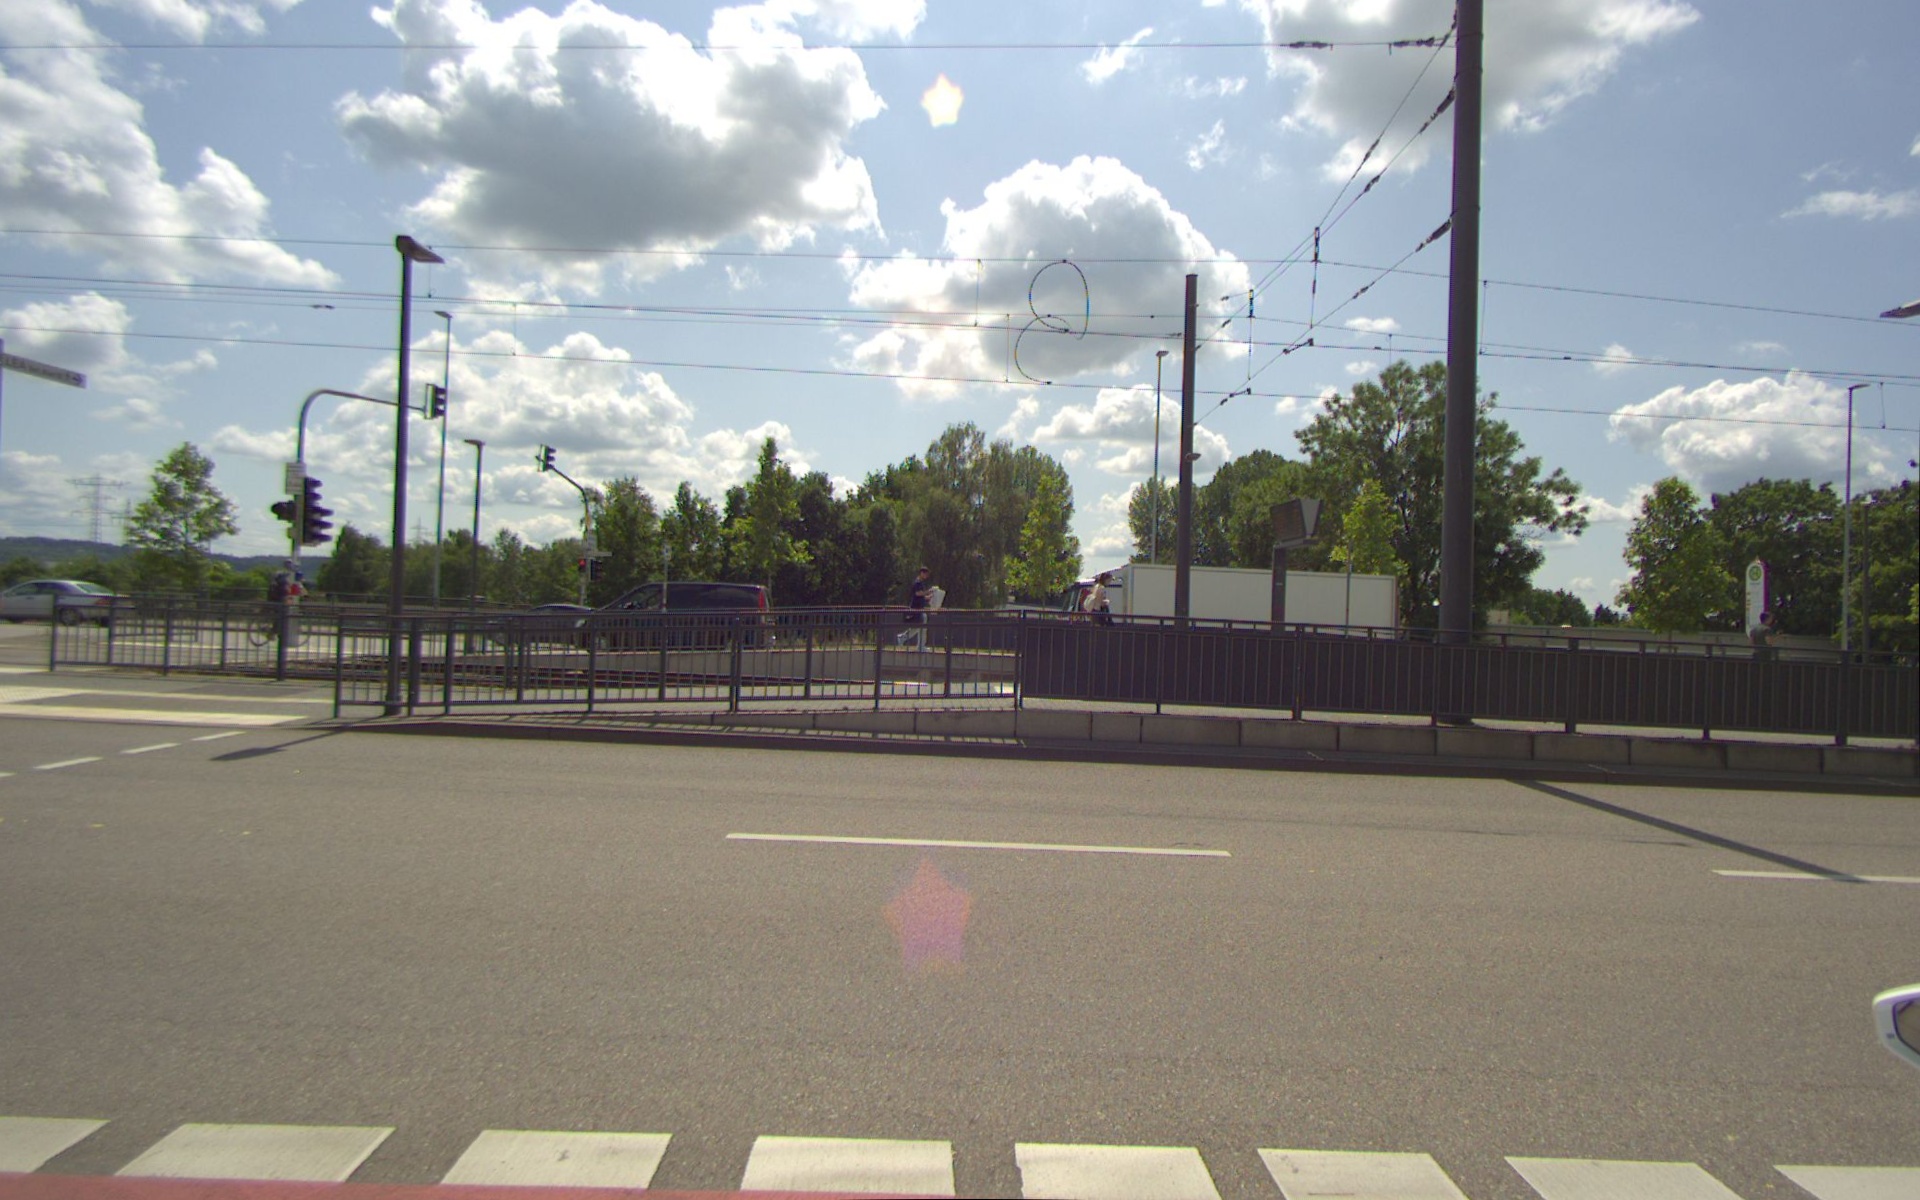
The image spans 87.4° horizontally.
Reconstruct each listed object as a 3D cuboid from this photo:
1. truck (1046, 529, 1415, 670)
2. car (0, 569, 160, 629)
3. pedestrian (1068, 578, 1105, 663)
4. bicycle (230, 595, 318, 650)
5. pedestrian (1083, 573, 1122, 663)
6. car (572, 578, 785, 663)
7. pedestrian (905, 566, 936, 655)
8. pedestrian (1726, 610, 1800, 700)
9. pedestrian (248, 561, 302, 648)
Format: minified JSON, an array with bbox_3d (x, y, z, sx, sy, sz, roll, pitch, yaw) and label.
[{"bbox_3d":[9.031,0.011,34.413,11.764,4.159,2.951,2,0,-2],"label":"truck"},{"bbox_3d":[-28.883,-0.029,32.304,4.579,1.797,1.883,2,-1,-6],"label":"car"},{"bbox_3d":[2.645,0.436,21.101,0.694,1.744,0.601,1,0,2],"label":"pedestrian"},{"bbox_3d":[-14.476,0.464,21.250,0.609,1.102,1.723,2,0,2],"label":"bicycle"},{"bbox_3d":[2.869,0.358,20.270,0.664,1.772,0.637,2,1,2],"label":"pedestrian"},{"bbox_3d":[-6.731,0.497,24.414,4.575,1.844,2.000,2,-1,0],"label":"car"},{"bbox_3d":[-0.783,0.213,20.240,0.514,1.744,0.730,1,0,4],"label":"pedestrian"},{"bbox_3d":[16.941,1.137,21.199,0.911,1.831,0.736,2,0,-1],"label":"pedestrian"},{"bbox_3d":[-14.462,0.099,21.216,0.601,1.792,0.672,2,0,2],"label":"pedestrian"}]
